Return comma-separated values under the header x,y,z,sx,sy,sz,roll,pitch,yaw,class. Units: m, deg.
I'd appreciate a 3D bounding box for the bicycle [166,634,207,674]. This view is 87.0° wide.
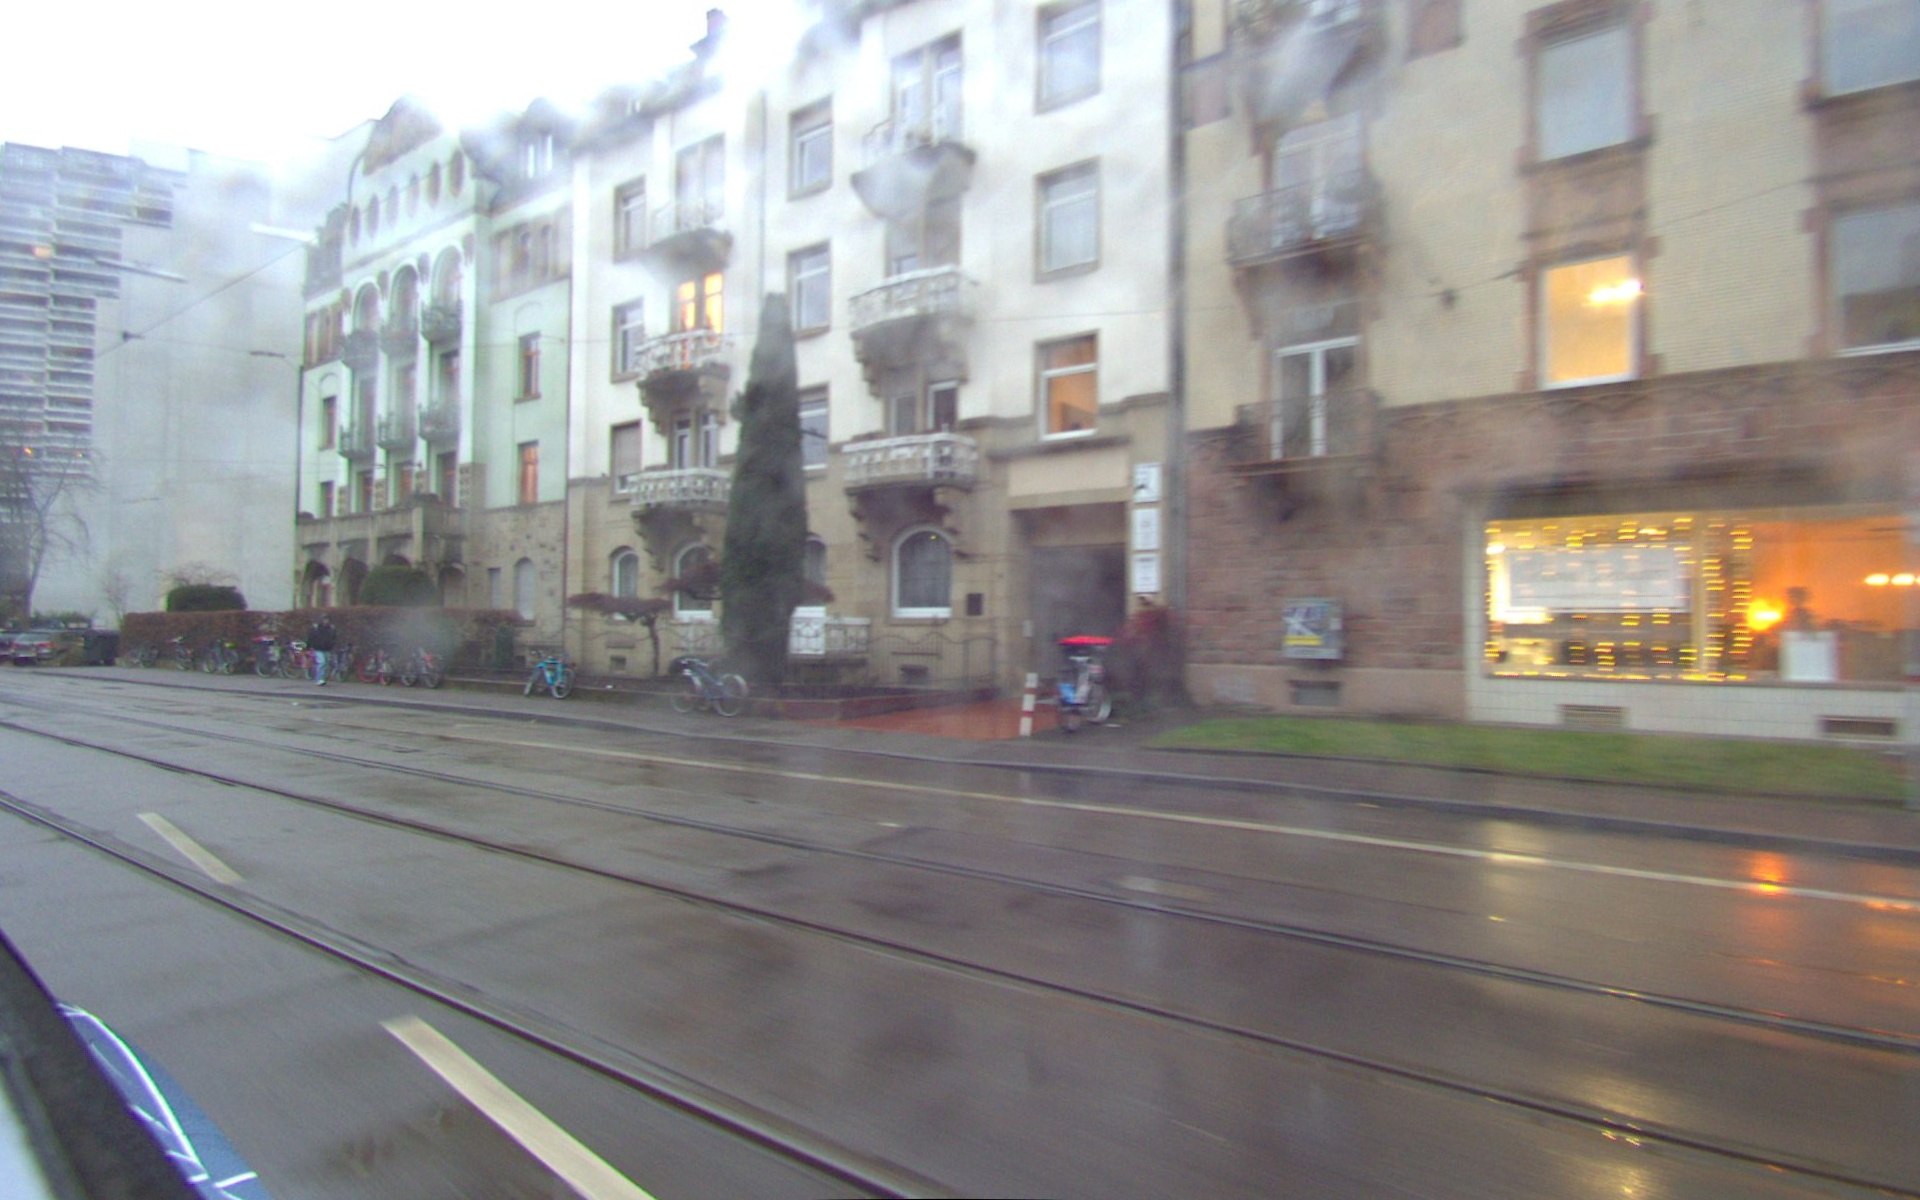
x,y,z,sx,sy,sz,roll,pitch,yaw,class
-24.684,1.707,32.292,1.660,1.221,0.617,-1,-3,39,bicycle

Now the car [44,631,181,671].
x,y,z,sx,sy,sz,roll,pitch,yaw,class
-33.599,1.983,40.263,1.847,1.505,3.991,0,-2,7,car

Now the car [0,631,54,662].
x,y,z,sx,sy,sz,roll,pitch,yaw,class
-46.629,2.225,49.061,1.842,1.460,4.000,0,-2,-1,car

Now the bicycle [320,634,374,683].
x,y,z,sx,sy,sz,roll,pitch,yaw,class
-15.576,1.467,25.723,1.660,1.221,0.617,-1,-3,39,bicycle

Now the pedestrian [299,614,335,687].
x,y,z,sx,sy,sz,roll,pitch,yaw,class
-15.629,1.208,24.610,0.644,1.738,0.567,0,0,40,pedestrian

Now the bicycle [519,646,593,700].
x,y,z,sx,sy,sz,roll,pitch,yaw,class
-8.063,1.440,20.164,1.660,1.011,0.617,-1,-3,39,bicycle

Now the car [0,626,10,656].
x,y,z,sx,sy,sz,roll,pitch,yaw,class
-52.335,2.144,52.779,1.842,1.608,4.000,0,-2,-1,car

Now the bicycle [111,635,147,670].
x,y,z,sx,sy,sz,roll,pitch,yaw,class
-28.966,1.811,35.258,1.660,1.173,0.617,-1,-2,39,bicycle

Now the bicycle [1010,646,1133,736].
x,y,z,sx,sy,sz,roll,pitch,yaw,class
1.685,1.290,14.904,0.694,1.114,2.327,-1,0,37,bicycle

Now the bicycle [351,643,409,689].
x,y,z,sx,sy,sz,roll,pitch,yaw,class
-14.115,1.583,24.611,1.724,1.074,0.617,-1,-3,39,bicycle

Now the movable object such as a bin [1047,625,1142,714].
x,y,z,sx,sy,sz,roll,pitch,yaw,class
2.261,1.133,16.992,1.166,1.390,1.092,-1,0,38,movable object such as a bin

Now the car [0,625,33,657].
x,y,z,sx,sy,sz,roll,pitch,yaw,class
-49.943,2.090,51.512,1.842,1.608,4.000,0,-2,-1,car

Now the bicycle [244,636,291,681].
x,y,z,sx,sy,sz,roll,pitch,yaw,class
-19.493,1.635,28.480,1.660,1.221,0.617,-1,-3,39,bicycle

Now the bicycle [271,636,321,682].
x,y,z,sx,sy,sz,roll,pitch,yaw,class
-17.858,1.572,27.213,1.660,1.173,0.617,-1,-3,39,bicycle

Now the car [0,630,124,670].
x,y,z,sx,sy,sz,roll,pitch,yaw,class
-36.158,1.972,40.751,1.739,1.497,4.000,0,-2,-1,car

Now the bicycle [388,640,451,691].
x,y,z,sx,sy,sz,roll,pitch,yaw,class
-12.542,1.496,23.467,1.781,1.134,0.617,-1,-3,39,bicycle

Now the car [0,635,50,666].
x,y,z,sx,sy,sz,roll,pitch,yaw,class
-41.019,2.128,42.864,1.687,1.262,3.667,1,-3,-2,car

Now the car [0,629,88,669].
x,y,z,sx,sy,sz,roll,pitch,yaw,class
-39.063,1.999,42.299,1.842,1.608,4.000,0,-2,-1,car

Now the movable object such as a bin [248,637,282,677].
x,y,z,sx,sy,sz,roll,pitch,yaw,class
-20.927,1.709,30.486,0.674,1.173,0.651,-1,-3,39,movable object such as a bin

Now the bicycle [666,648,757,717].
x,y,z,sx,sy,sz,roll,pitch,yaw,class
-4.259,1.376,17.298,1.660,1.101,0.617,-1,-3,39,bicycle

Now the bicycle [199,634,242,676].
x,y,z,sx,sy,sz,roll,pitch,yaw,class
-22.553,1.660,30.856,1.660,1.221,0.617,-1,-3,39,bicycle
